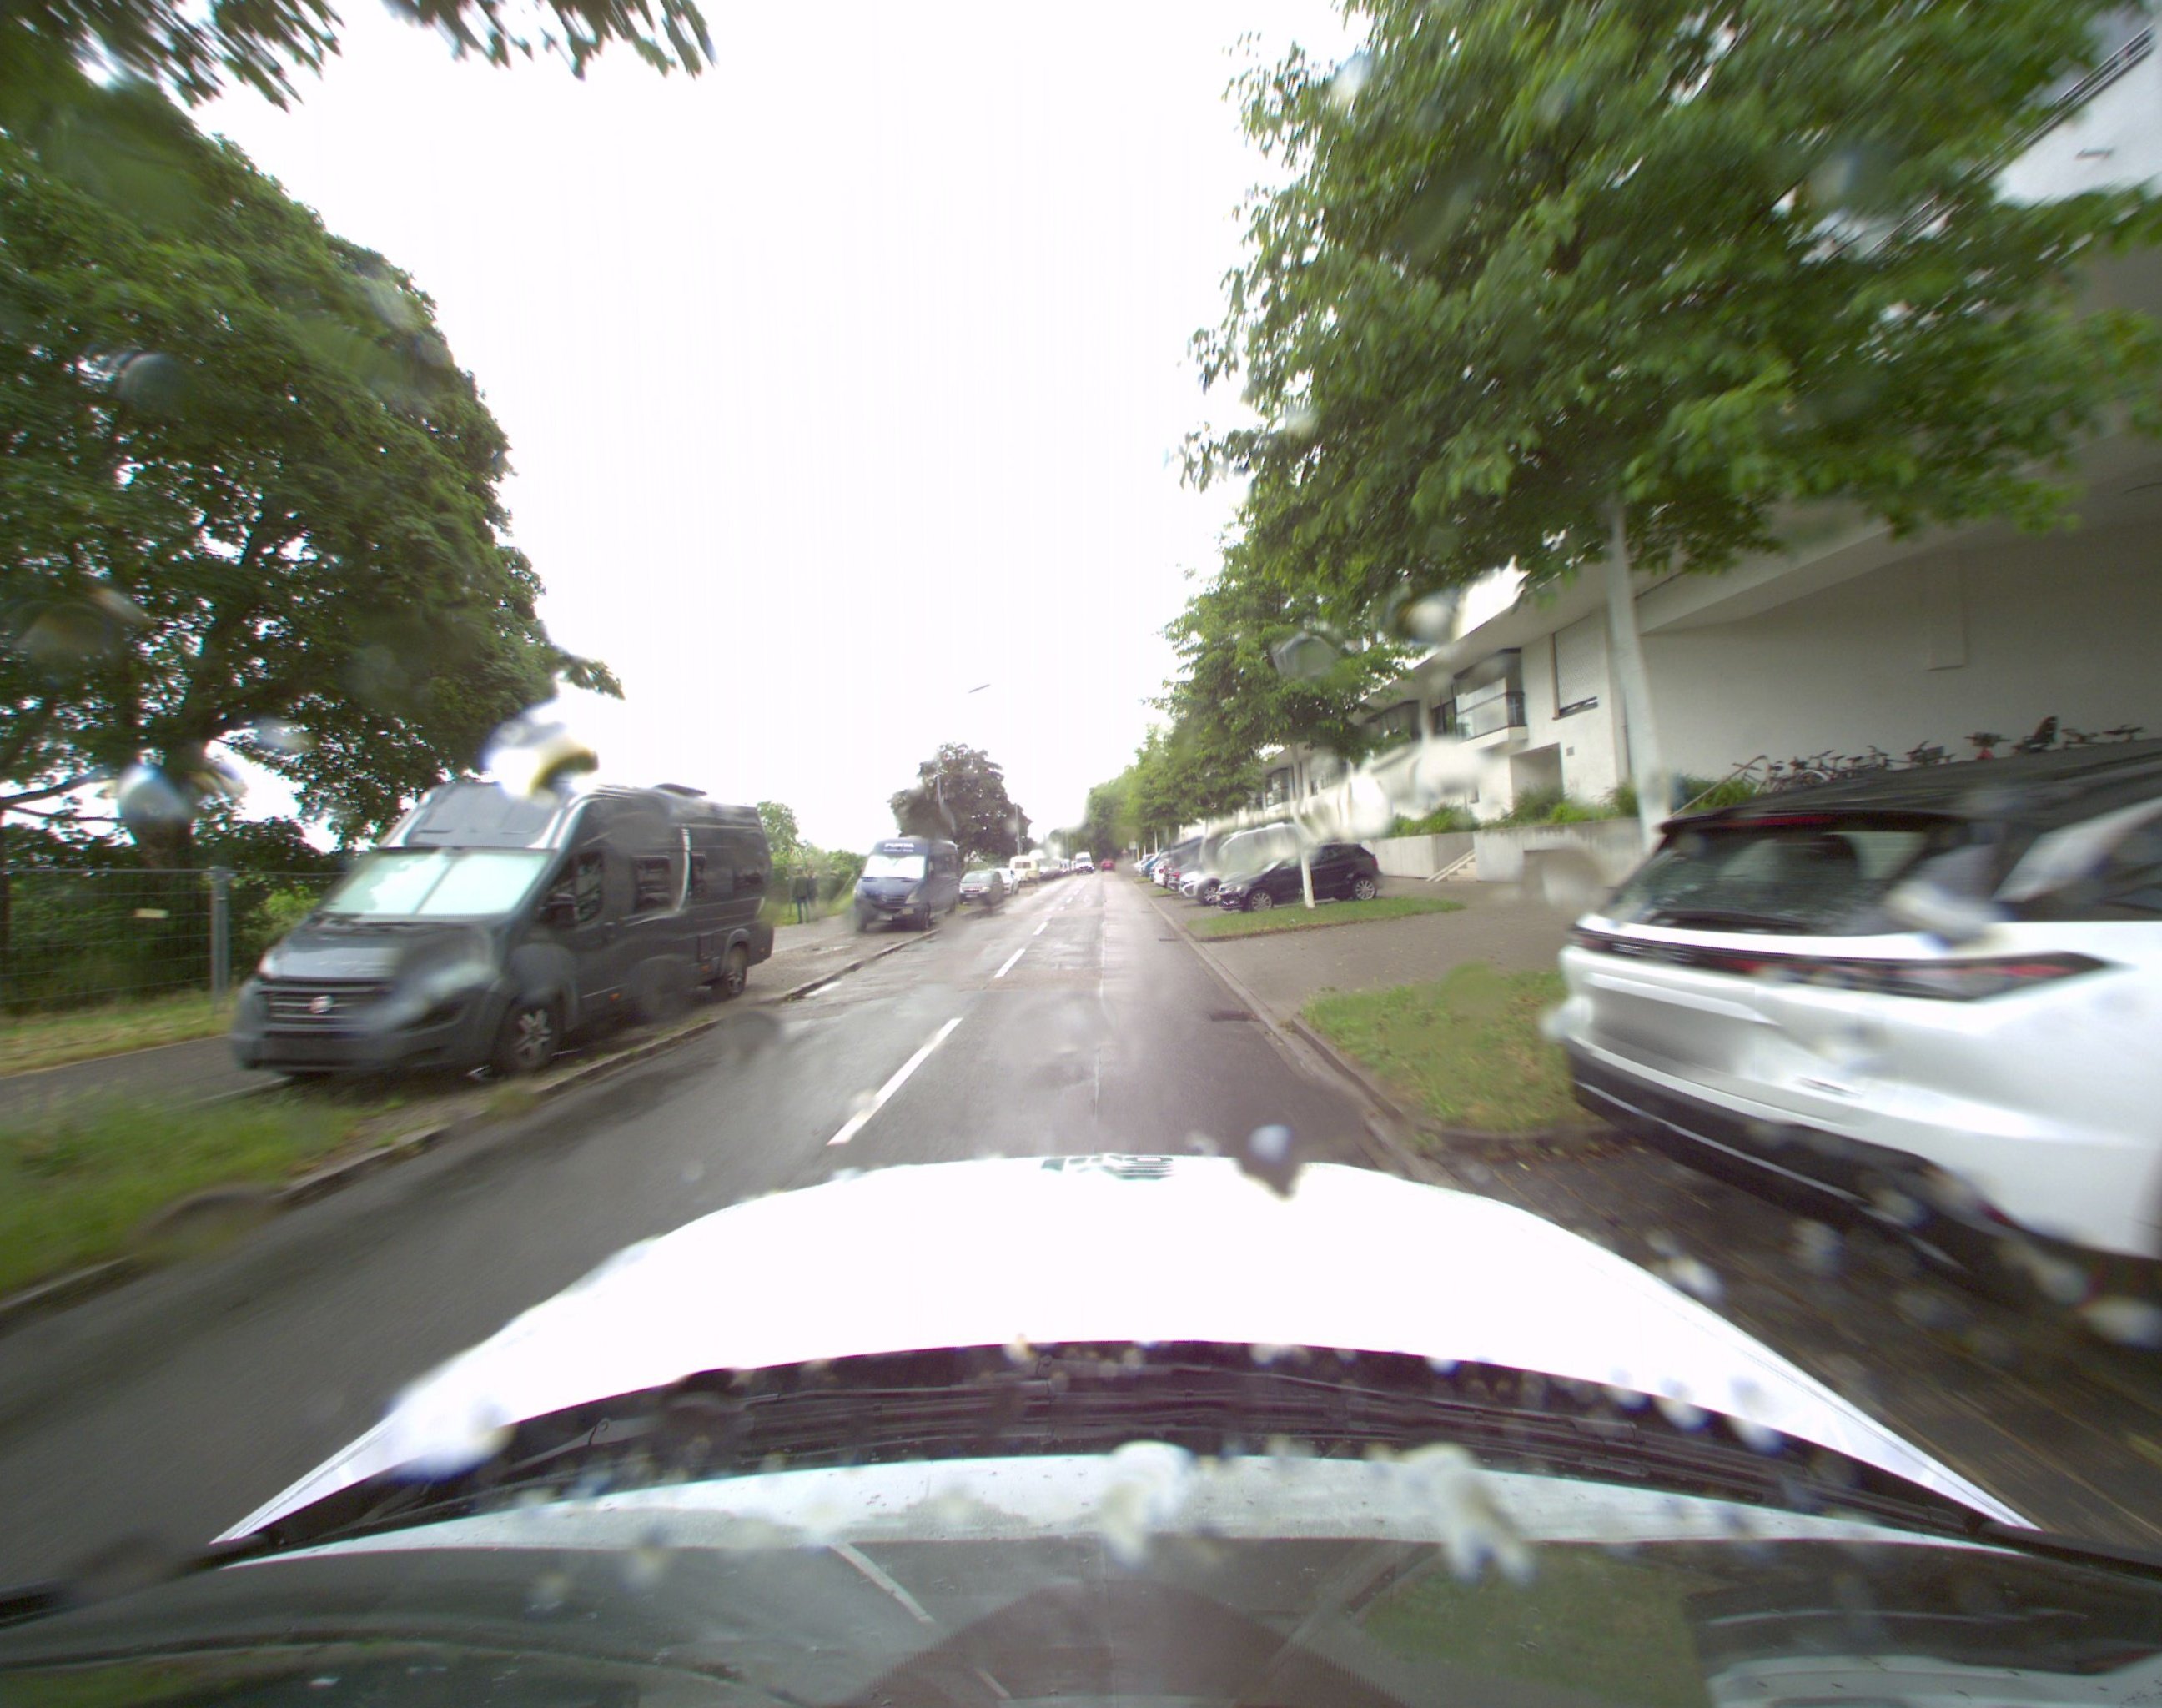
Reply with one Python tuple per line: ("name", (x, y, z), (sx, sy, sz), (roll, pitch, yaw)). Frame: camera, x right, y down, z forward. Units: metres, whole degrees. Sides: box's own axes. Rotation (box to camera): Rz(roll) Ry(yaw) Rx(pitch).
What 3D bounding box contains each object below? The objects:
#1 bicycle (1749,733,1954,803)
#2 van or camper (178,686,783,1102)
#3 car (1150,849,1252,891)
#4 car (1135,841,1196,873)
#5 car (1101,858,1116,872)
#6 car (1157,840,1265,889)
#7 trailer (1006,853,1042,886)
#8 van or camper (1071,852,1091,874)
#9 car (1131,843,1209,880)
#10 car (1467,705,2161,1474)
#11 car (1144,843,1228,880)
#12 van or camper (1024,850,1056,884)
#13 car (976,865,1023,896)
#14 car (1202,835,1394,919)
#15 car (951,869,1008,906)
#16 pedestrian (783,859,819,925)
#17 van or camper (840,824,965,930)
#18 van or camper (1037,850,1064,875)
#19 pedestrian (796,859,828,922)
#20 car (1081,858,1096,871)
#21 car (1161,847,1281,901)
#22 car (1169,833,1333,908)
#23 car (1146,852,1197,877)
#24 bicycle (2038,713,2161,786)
("bicycle", (15.813, -1.739, 16.824), (2.933, 1.118, 0.919), (-3, -1, 17))
("van or camper", (-5.708, 0.348, 9.359), (2.087, 3.094, 6.424), (-1, -1, 1))
("car", (5.391, 0.721, 36.907), (4.286, 1.428, 1.636), (-5, -1, -1))
("car", (5.932, 0.229, 57.297), (4.077, 1.894, 1.728), (-5, -1, 2))
("car", (3.615, 1.428, 108.881), (1.751, 1.706, 3.999), (-4, -1, 0))
("car", (5.479, 0.433, 34.605), (4.150, 1.624, 1.896), (-5, -1, -1))
("trailer", (-4.088, 1.124, 59.436), (2.052, 2.218, 5.794), (-2, -1, 0))
("van or camper", (0.084, 1.140, 101.048), (1.986, 2.497, 7.182), (-5, -1, 3))
("car", (5.657, 0.472, 51.846), (4.607, 2.019, 1.856), (-4, -1, -3))
("car", (4.168, 0.280, 2.909), (4.527, 1.685, 1.885), (-9, -1, -1))
("car", (5.455, 0.383, 42.593), (4.020, 1.499, 1.630), (-5, -1, -2))
("van or camper", (-3.539, 1.097, 71.553), (1.986, 2.762, 7.902), (-2, -1, 2))
("car", (-4.276, 1.369, 43.398), (1.880, 1.526, 5.110), (-1, -1, 1))
("car", (5.121, 0.520, 19.642), (3.977, 1.495, 1.935), (-6, 0, -2))
("car", (-4.508, 1.462, 36.832), (1.767, 1.503, 4.830), (-2, -1, 2))
("pedestrian", (-8.872, 1.180, 25.811), (0.734, 2.014, 0.900), (-2, -1, 1))
("van or camper", (-5.175, 0.667, 24.957), (2.087, 2.716, 7.573), (-1, -1, 0))
("van or camper", (-3.151, 0.926, 85.693), (2.181, 2.462, 6.380), (-2, -1, 2))
("pedestrian", (-8.852, 1.175, 26.824), (0.717, 2.014, 0.853), (-2, -1, 1))
("car", (1.134, 1.520, 121.858), (1.874, 1.757, 4.071), (-4, -1, 3))
("car", (5.003, 0.686, 29.424), (3.973, 1.509, 1.685), (-5, 0, 1))
("car", (5.113, 0.486, 24.934), (4.462, 1.686, 1.935), (-7, 0, 0))
("car", (6.064, 0.698, 54.721), (3.244, 1.482, 1.317), (-4, -1, 0))
("bicycle", (19.411, -1.940, 14.515), (2.928, 1.118, 0.921), (-3, -1, 44))
